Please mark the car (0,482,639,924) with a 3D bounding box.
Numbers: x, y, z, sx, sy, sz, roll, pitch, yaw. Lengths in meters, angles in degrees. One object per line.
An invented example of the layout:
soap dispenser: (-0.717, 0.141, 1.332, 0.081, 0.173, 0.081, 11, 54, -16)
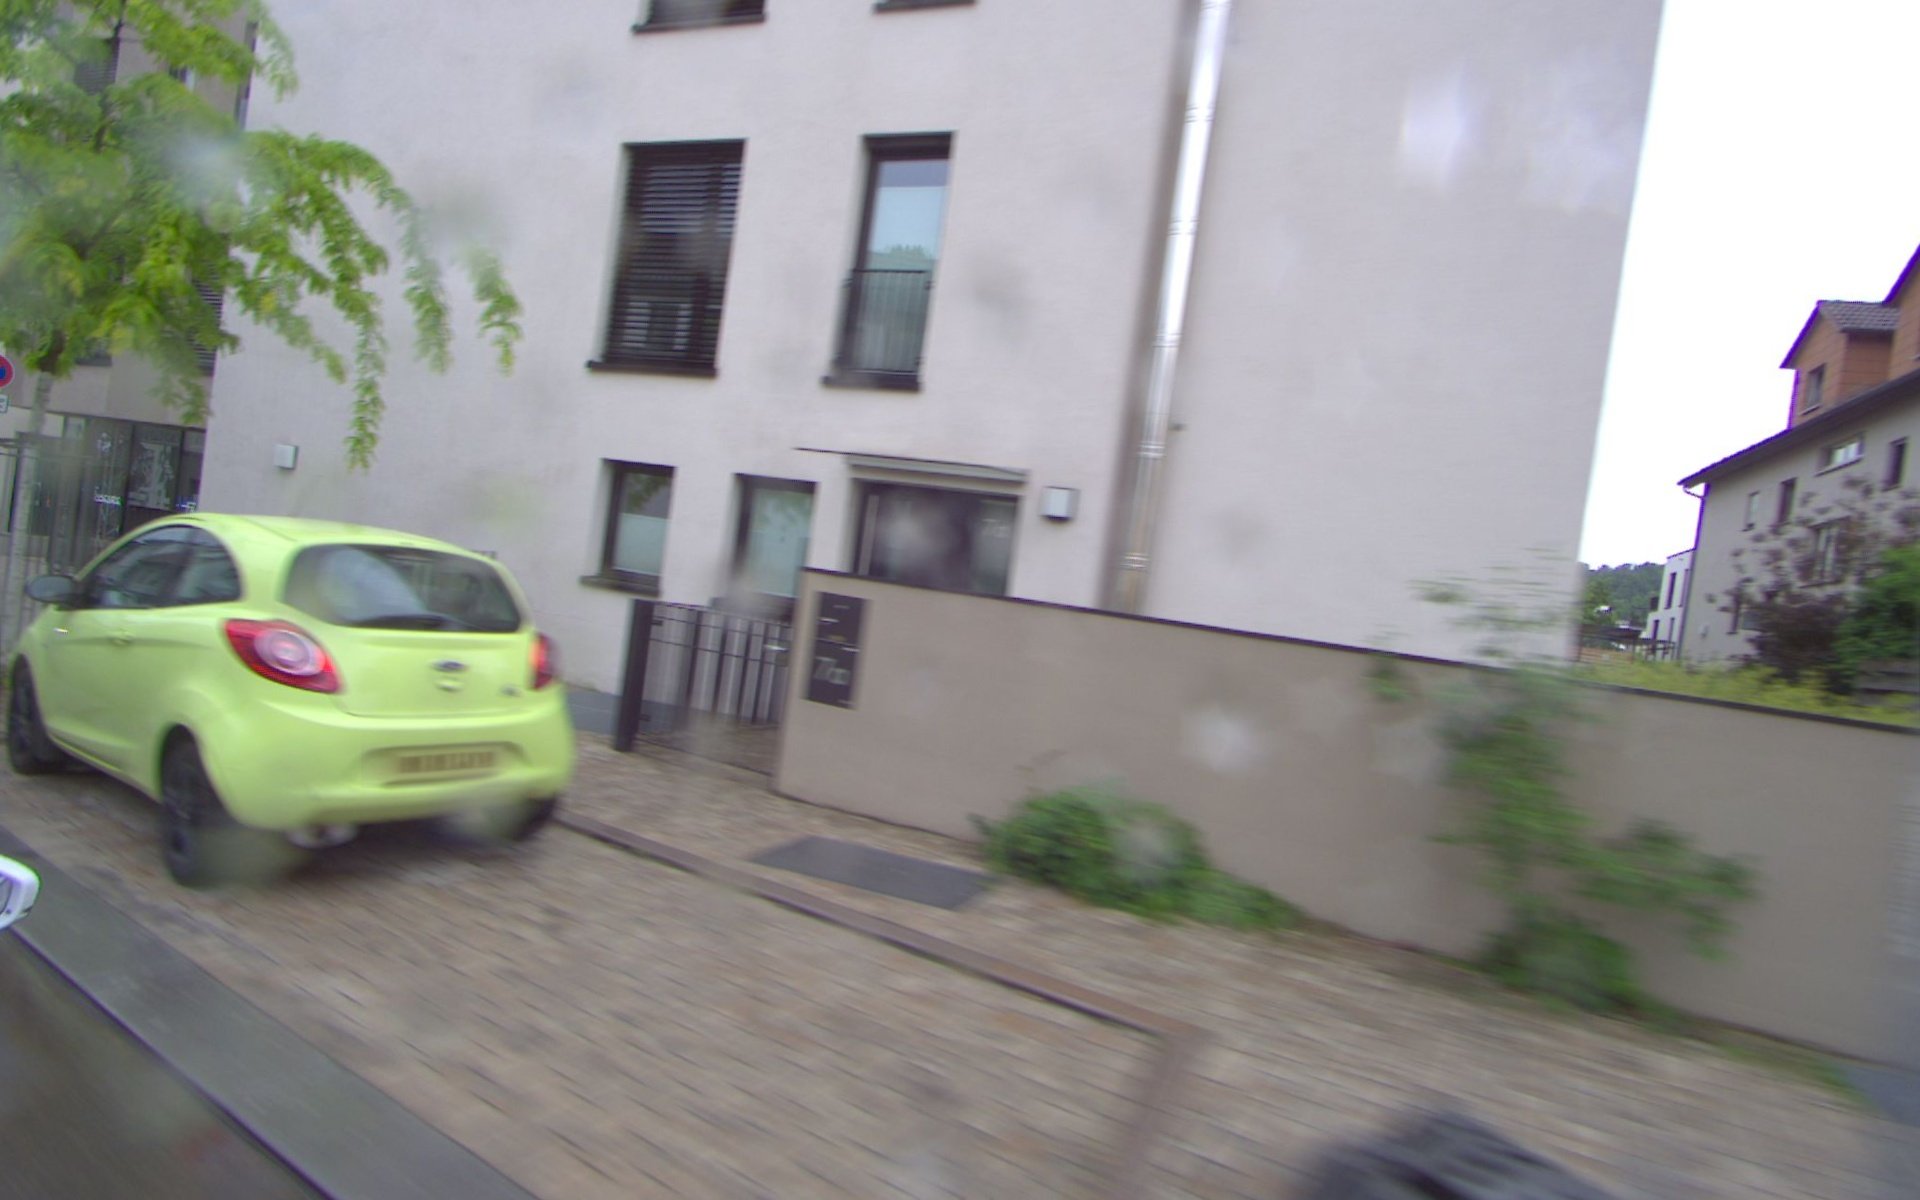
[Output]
car: (-3.578, 0.314, 5.308, 3.577, 1.544, 1.638, 6, -1, 35)
